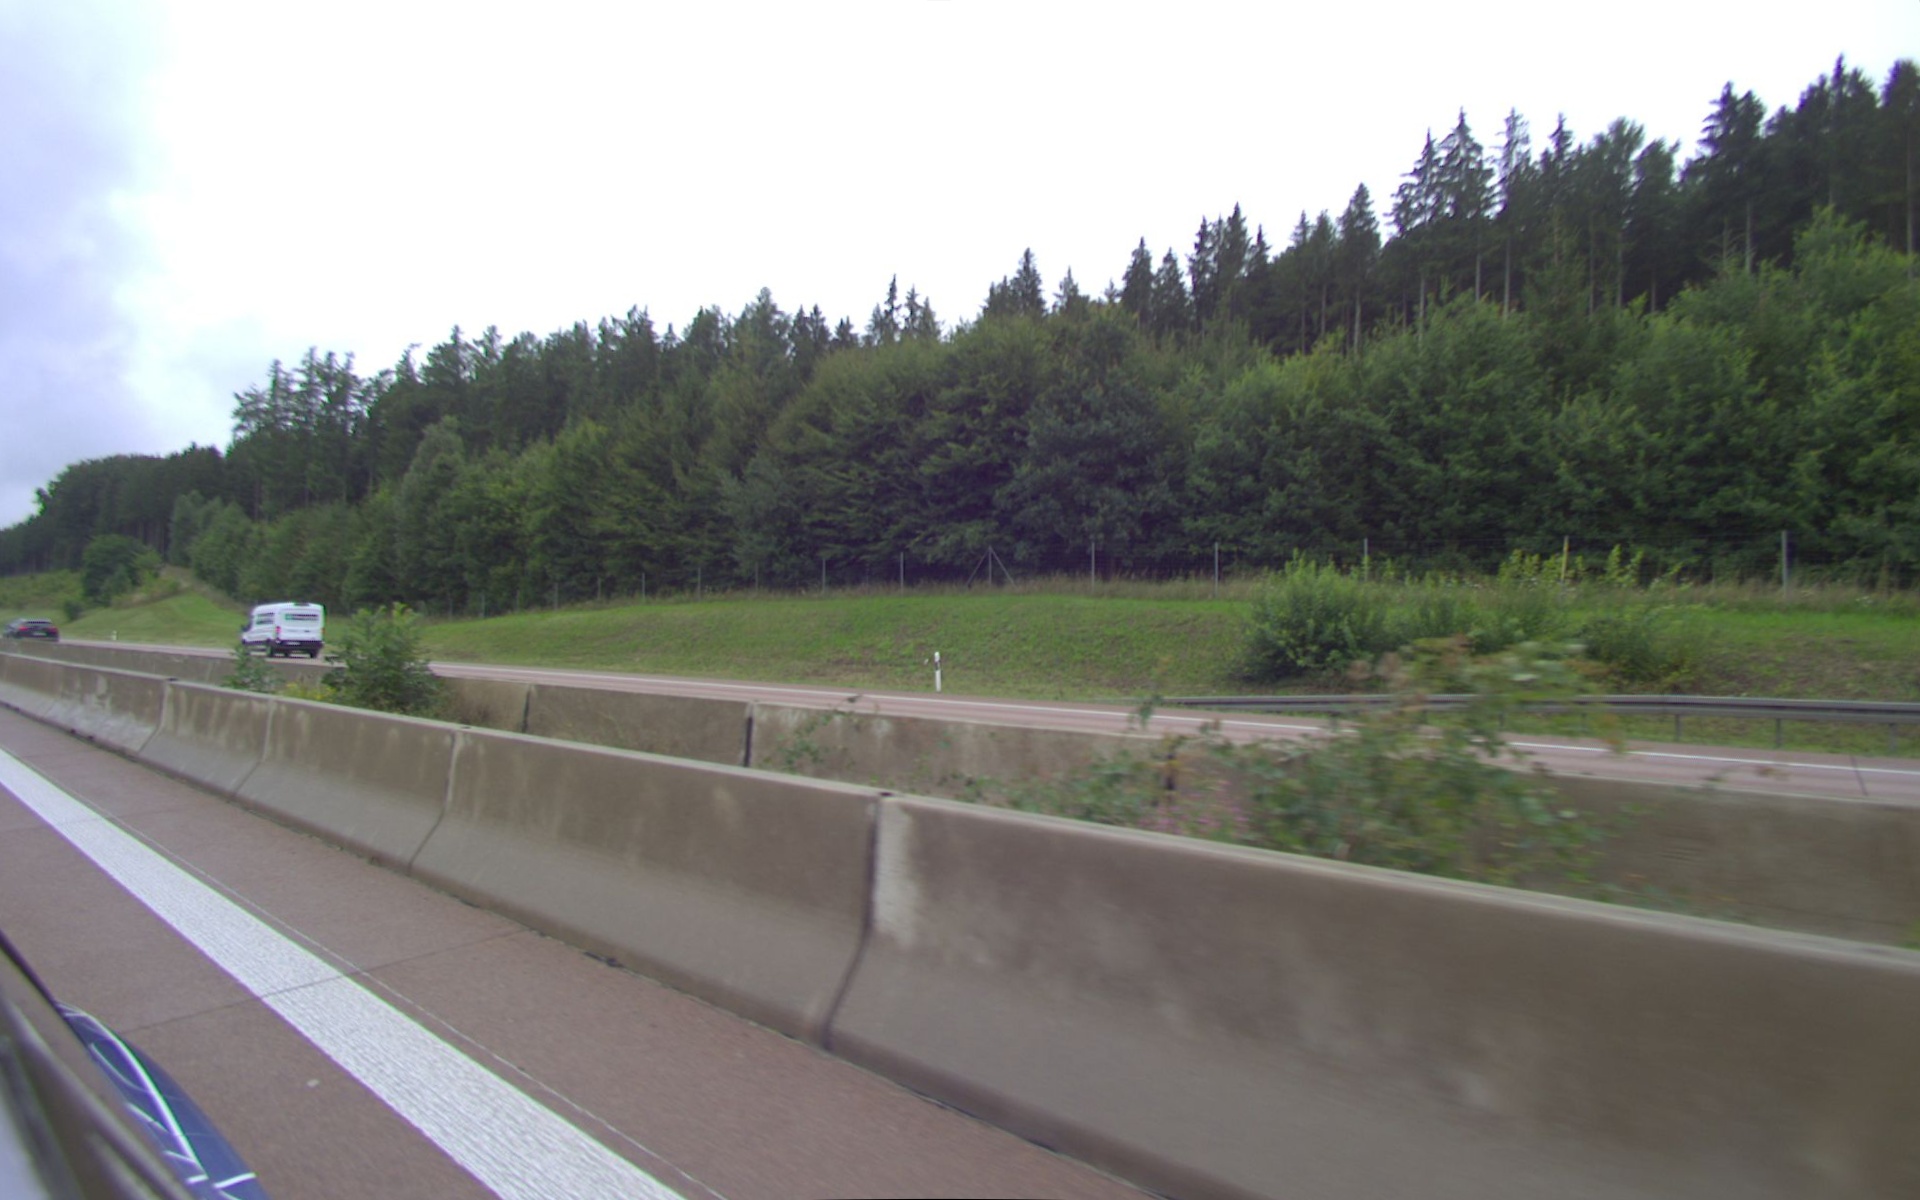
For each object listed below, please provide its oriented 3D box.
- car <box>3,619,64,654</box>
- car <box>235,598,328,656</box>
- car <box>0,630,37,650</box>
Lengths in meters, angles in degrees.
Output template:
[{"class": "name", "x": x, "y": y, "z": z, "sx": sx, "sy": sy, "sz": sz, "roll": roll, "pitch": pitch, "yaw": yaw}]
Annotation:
[{"class": "car", "x": -50.919, "y": 1.977, "z": 55.585, "sx": 4.684, "sy": 1.841, "sz": 1.972, "roll": -1, "pitch": -2, "yaw": 41}, {"class": "car", "x": -32.585, "y": 1.204, "z": 48.533, "sx": 6.252, "sy": 2.604, "sz": 2.200, "roll": 0, "pitch": 1, "yaw": 41}, {"class": "car", "x": -71.357, "y": 3.009, "z": 76.481, "sx": 4.806, "sy": 1.400, "sz": 1.633, "roll": -1, "pitch": -4, "yaw": 40}]
